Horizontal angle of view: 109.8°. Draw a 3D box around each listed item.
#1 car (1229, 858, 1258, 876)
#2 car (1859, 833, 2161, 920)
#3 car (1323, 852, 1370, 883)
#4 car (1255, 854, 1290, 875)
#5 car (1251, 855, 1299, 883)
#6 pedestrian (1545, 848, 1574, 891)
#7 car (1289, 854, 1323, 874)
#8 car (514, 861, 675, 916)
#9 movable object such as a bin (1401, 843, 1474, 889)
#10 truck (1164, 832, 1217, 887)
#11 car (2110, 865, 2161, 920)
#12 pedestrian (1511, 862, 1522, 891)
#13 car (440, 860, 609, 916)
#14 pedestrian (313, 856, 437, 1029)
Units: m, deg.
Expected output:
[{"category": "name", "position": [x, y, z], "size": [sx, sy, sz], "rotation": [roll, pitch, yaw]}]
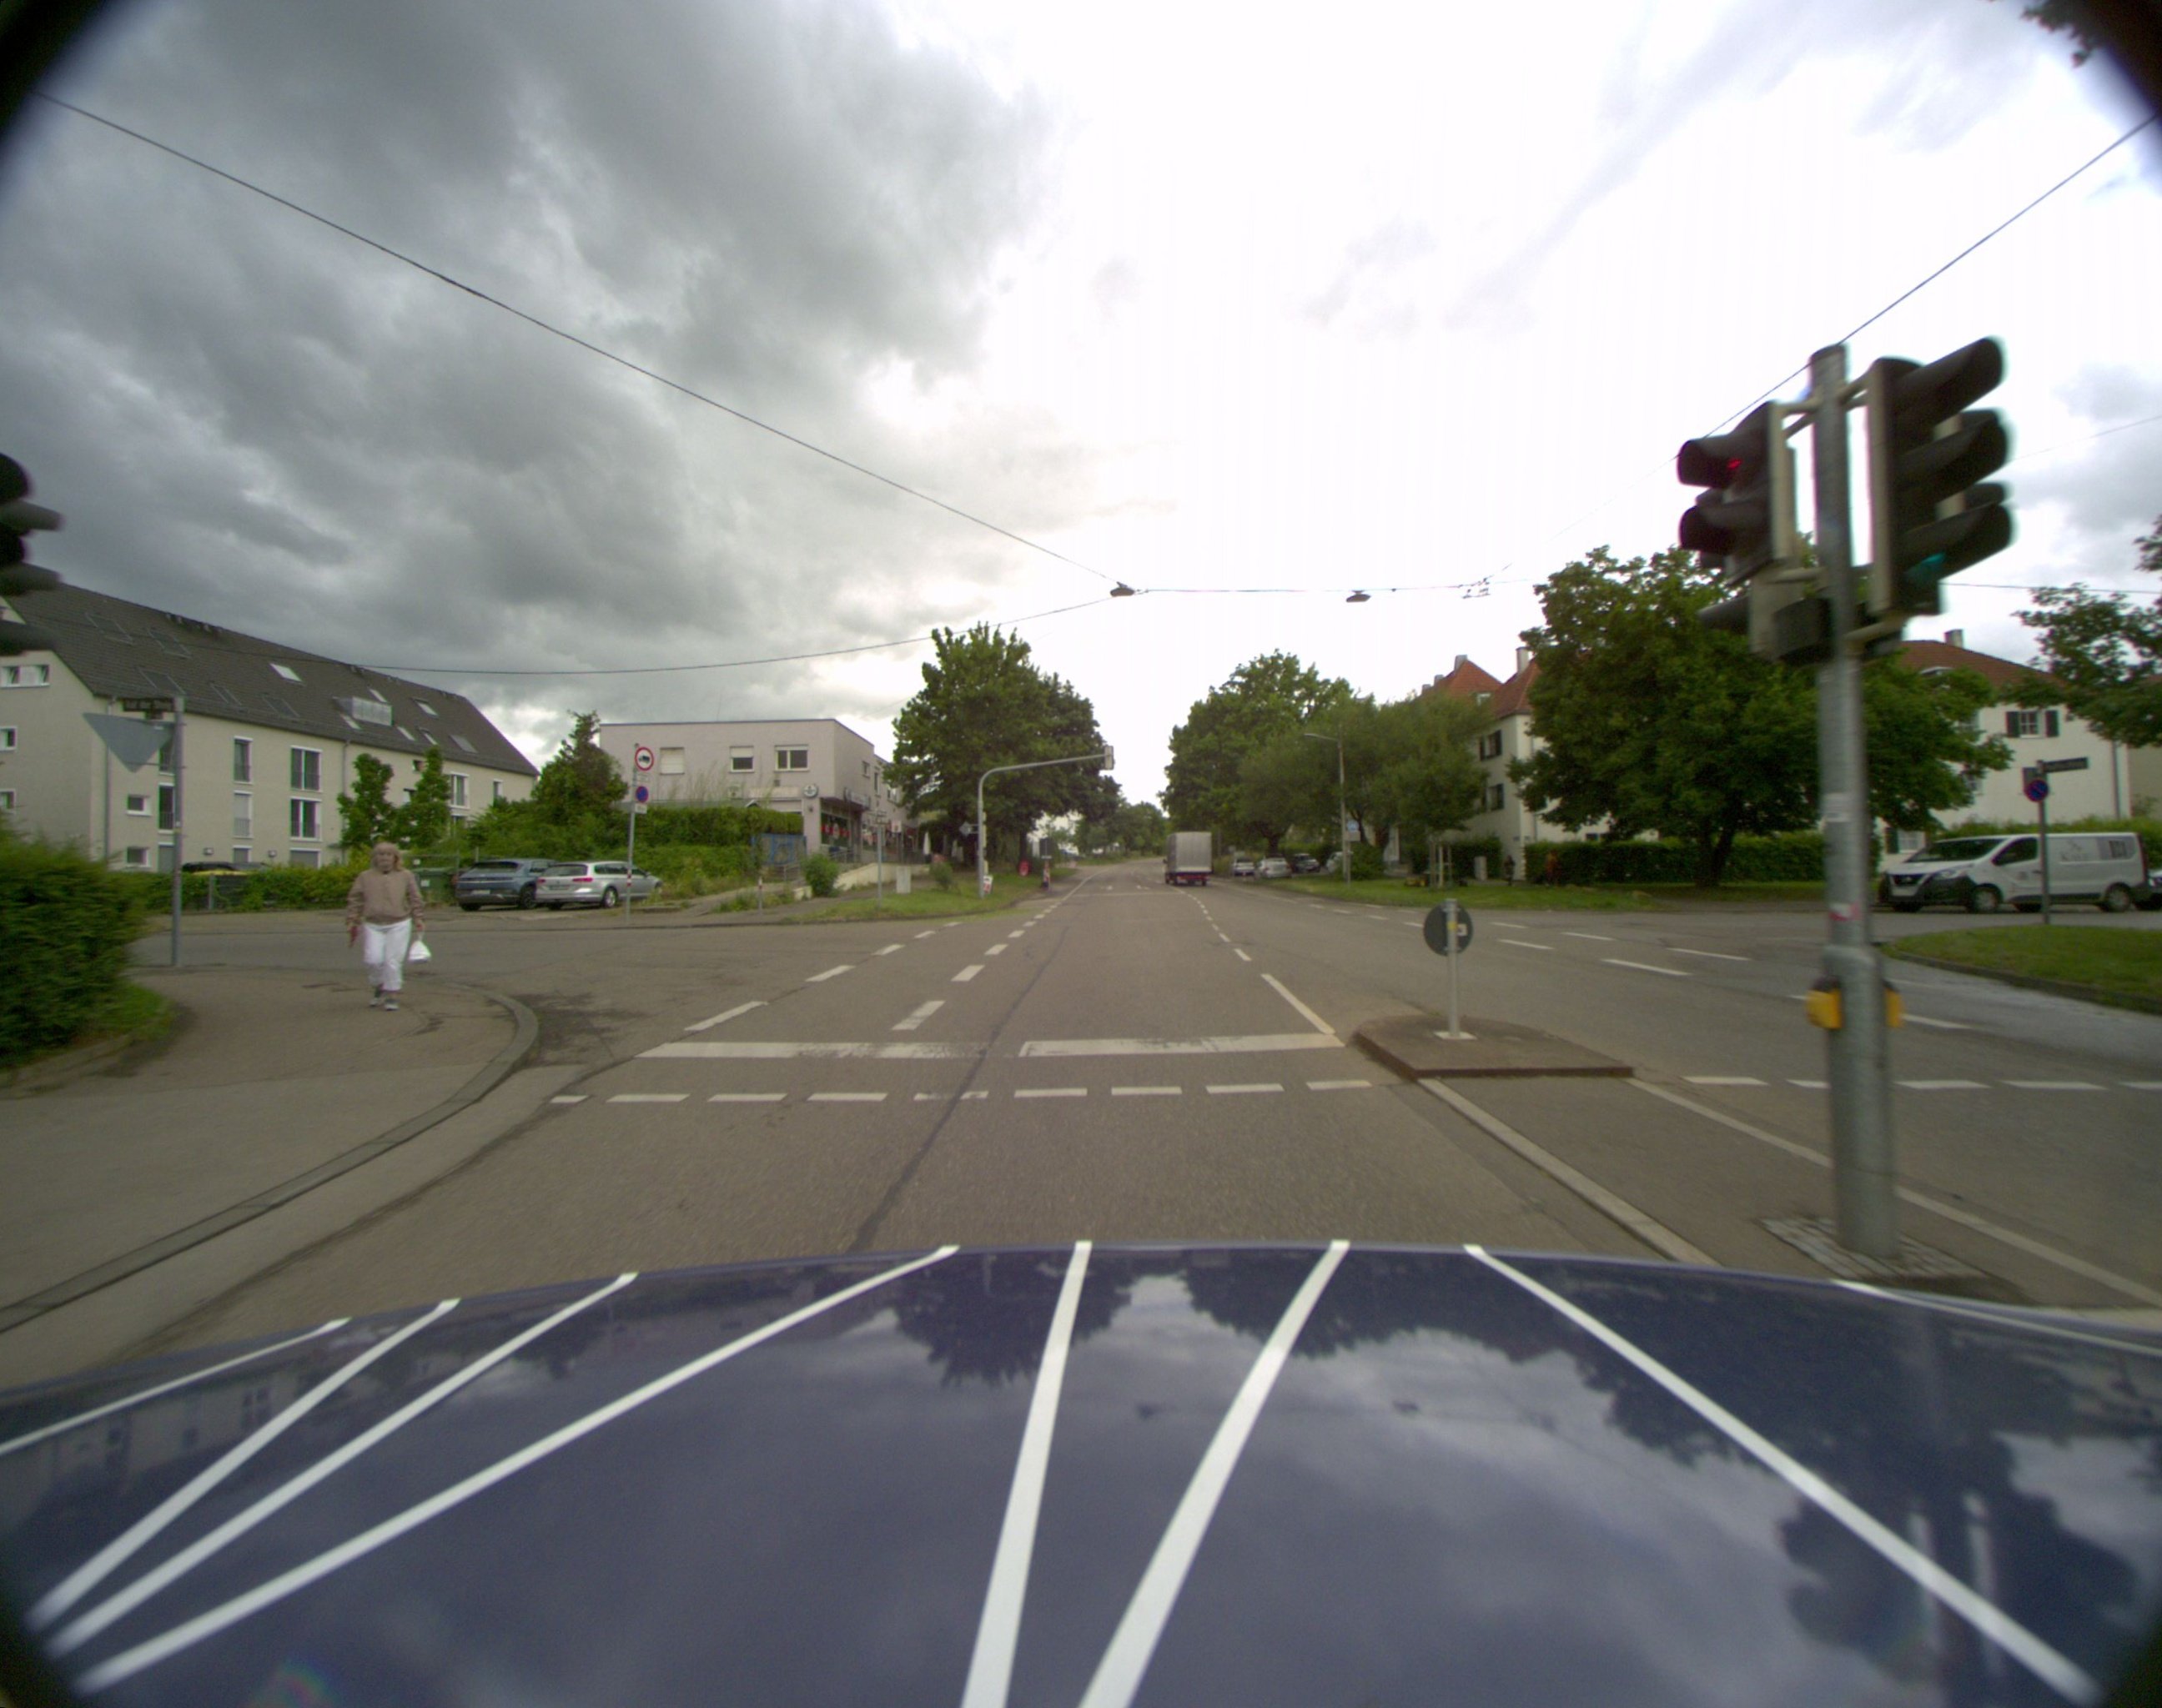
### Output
[{"category": "car", "position": [13.123, 1.000, 61.600], "size": [1.604, 1.346, 4.001], "rotation": [-2, 0, 3]}, {"category": "car", "position": [23.095, 0.541, 18.983], "size": [5.152, 1.906, 2.000], "rotation": [-2, 0, 2]}, {"category": "car", "position": [17.299, 0.849, 49.682], "size": [1.755, 1.878, 4.001], "rotation": [-2, 0, 2]}, {"category": "car", "position": [15.364, 0.817, 61.133], "size": [1.860, 1.596, 4.001], "rotation": [-2, 0, 3]}, {"category": "car", "position": [12.389, 0.908, 48.865], "size": [1.998, 1.666, 4.546], "rotation": [-2, 0, 2]}, {"category": "pedestrian", "position": [19.912, 0.653, 31.629], "size": [0.778, 1.746, 0.688], "rotation": [-2, 1, -30]}, {"category": "car", "position": [17.680, 0.753, 59.902], "size": [1.680, 1.422, 3.873], "rotation": [-2, 0, 2]}, {"category": "car", "position": [-14.958, 0.986, 23.734], "size": [1.998, 1.455, 4.612], "rotation": [-2, 0, 0]}, {"category": "movable object such as a bin", "position": [15.481, 0.519, 33.149], "size": [1.099, 1.892, 3.247], "rotation": [-2, 0, -13]}, {"category": "truck", "position": [6.851, 0.314, 48.475], "size": [2.371, 3.218, 7.216], "rotation": [-1, 0, 1]}, {"category": "car", "position": [28.355, 0.924, 18.806], "size": [3.536, 1.305, 1.538], "rotation": [-2, 0, 3]}, {"category": "pedestrian", "position": [18.629, 0.963, 32.528], "size": [0.358, 1.264, 0.360], "rotation": [0, 0, 25]}, {"category": "car", "position": [-17.617, 0.998, 24.400], "size": [1.998, 1.524, 4.612], "rotation": [-2, 0, 0]}, {"category": "pedestrian", "position": [-7.156, 0.876, 7.727], "size": [0.658, 1.674, 0.575], "rotation": [1, -2, 3]}]
